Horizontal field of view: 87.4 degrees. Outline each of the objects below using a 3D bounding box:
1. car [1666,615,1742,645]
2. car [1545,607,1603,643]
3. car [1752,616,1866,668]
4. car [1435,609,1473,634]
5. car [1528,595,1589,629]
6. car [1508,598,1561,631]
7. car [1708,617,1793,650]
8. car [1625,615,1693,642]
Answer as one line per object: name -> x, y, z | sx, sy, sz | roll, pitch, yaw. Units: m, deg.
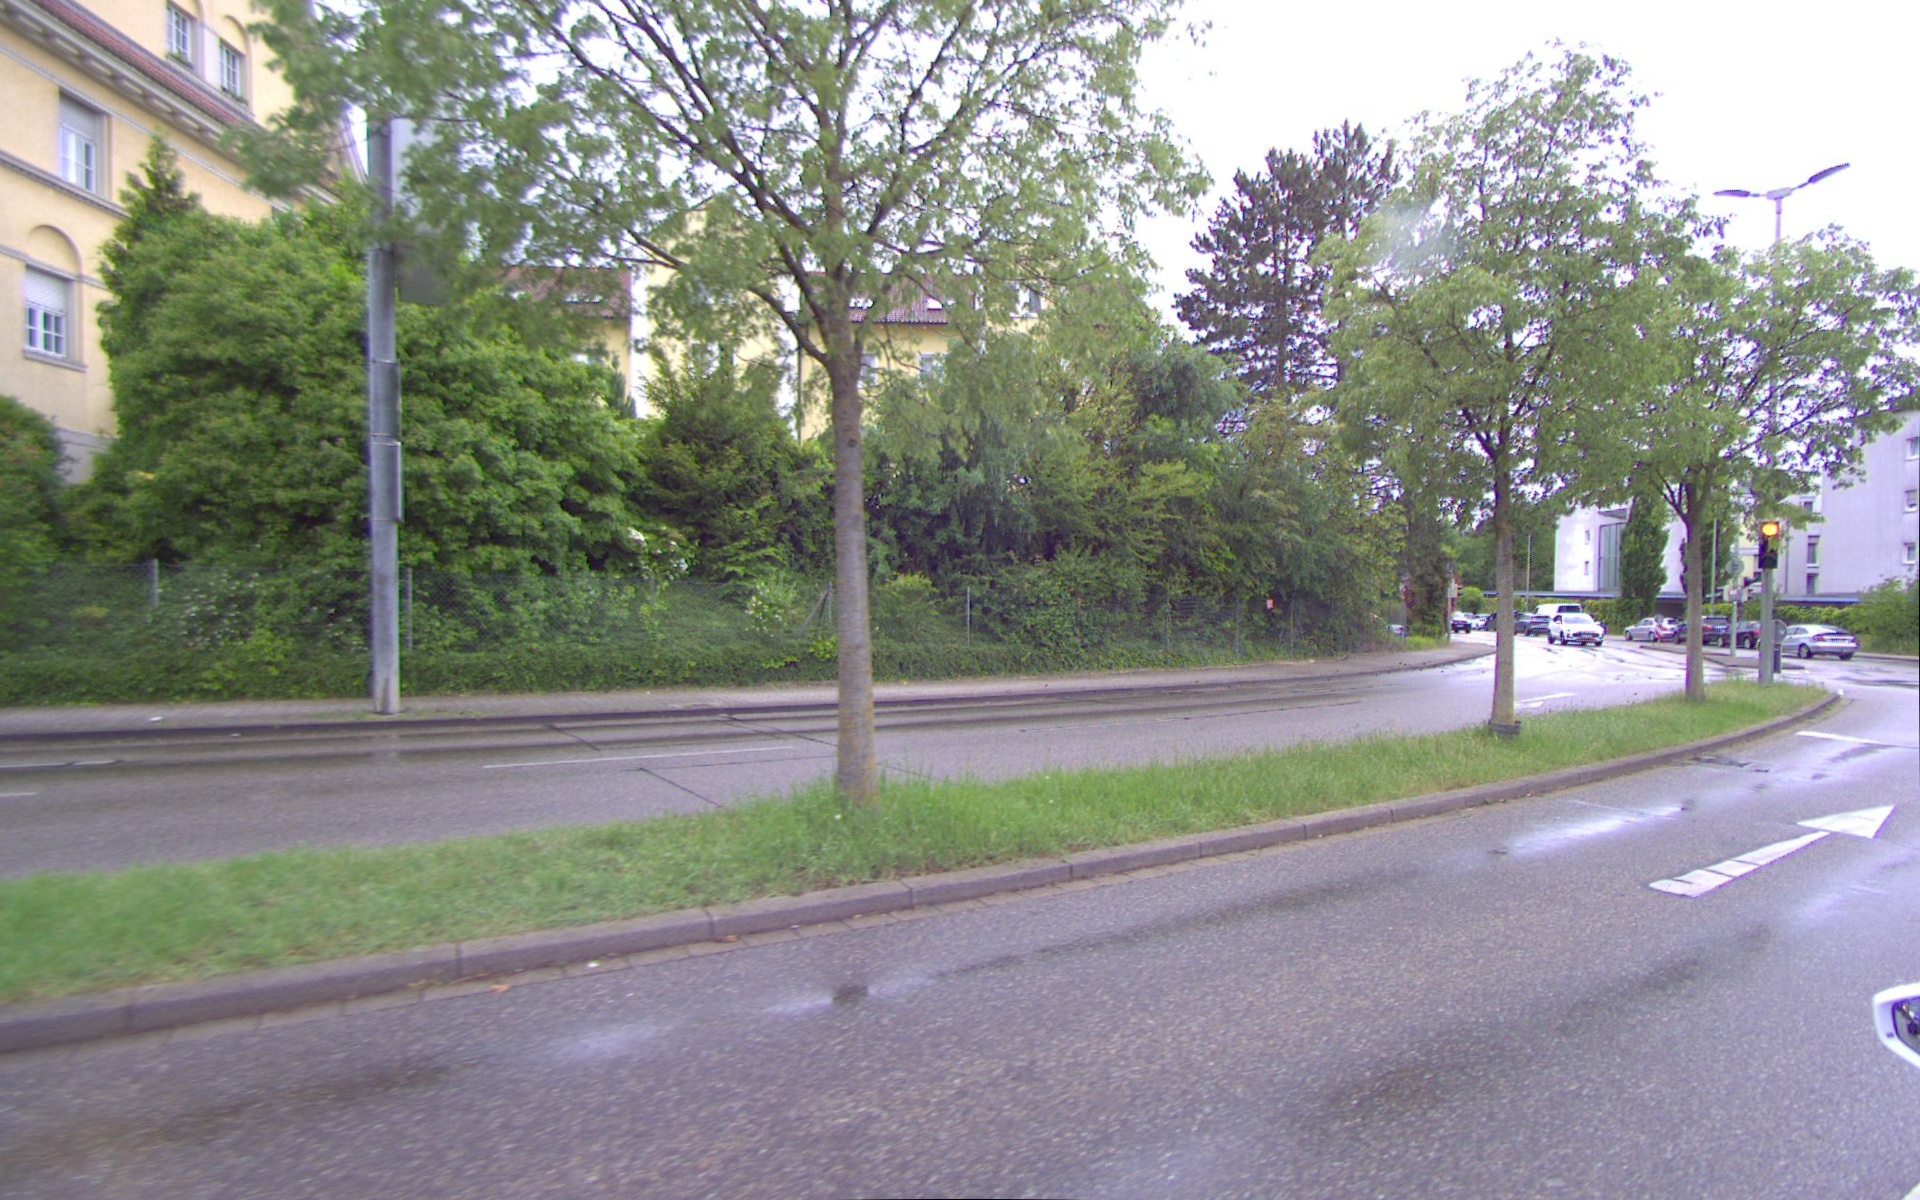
car -> 42.872, 1.687, 57.972 | 1.959, 1.576, 4.002 | 0, 0, 11
car -> 31.945, 1.277, 52.349 | 1.962, 1.662, 3.997 | 2, 2, 23
car -> 36.259, 1.746, 43.037 | 1.959, 1.782, 4.001 | 1, 4, 11
car -> 39.147, 1.683, 79.665 | 1.960, 1.840, 4.001 | 1, 1, 15
car -> 46.502, 0.982, 78.164 | 2.548, 2.445, 5.260 | 1, -2, 13
car -> 41.755, 1.011, 73.072 | 1.940, 2.041, 4.001 | 1, 4, 8
car -> 42.028, 1.753, 53.517 | 1.959, 1.576, 4.002 | 0, 0, 11
car -> 43.607, 1.758, 62.753 | 1.959, 1.576, 4.002 | 1, 0, 11
